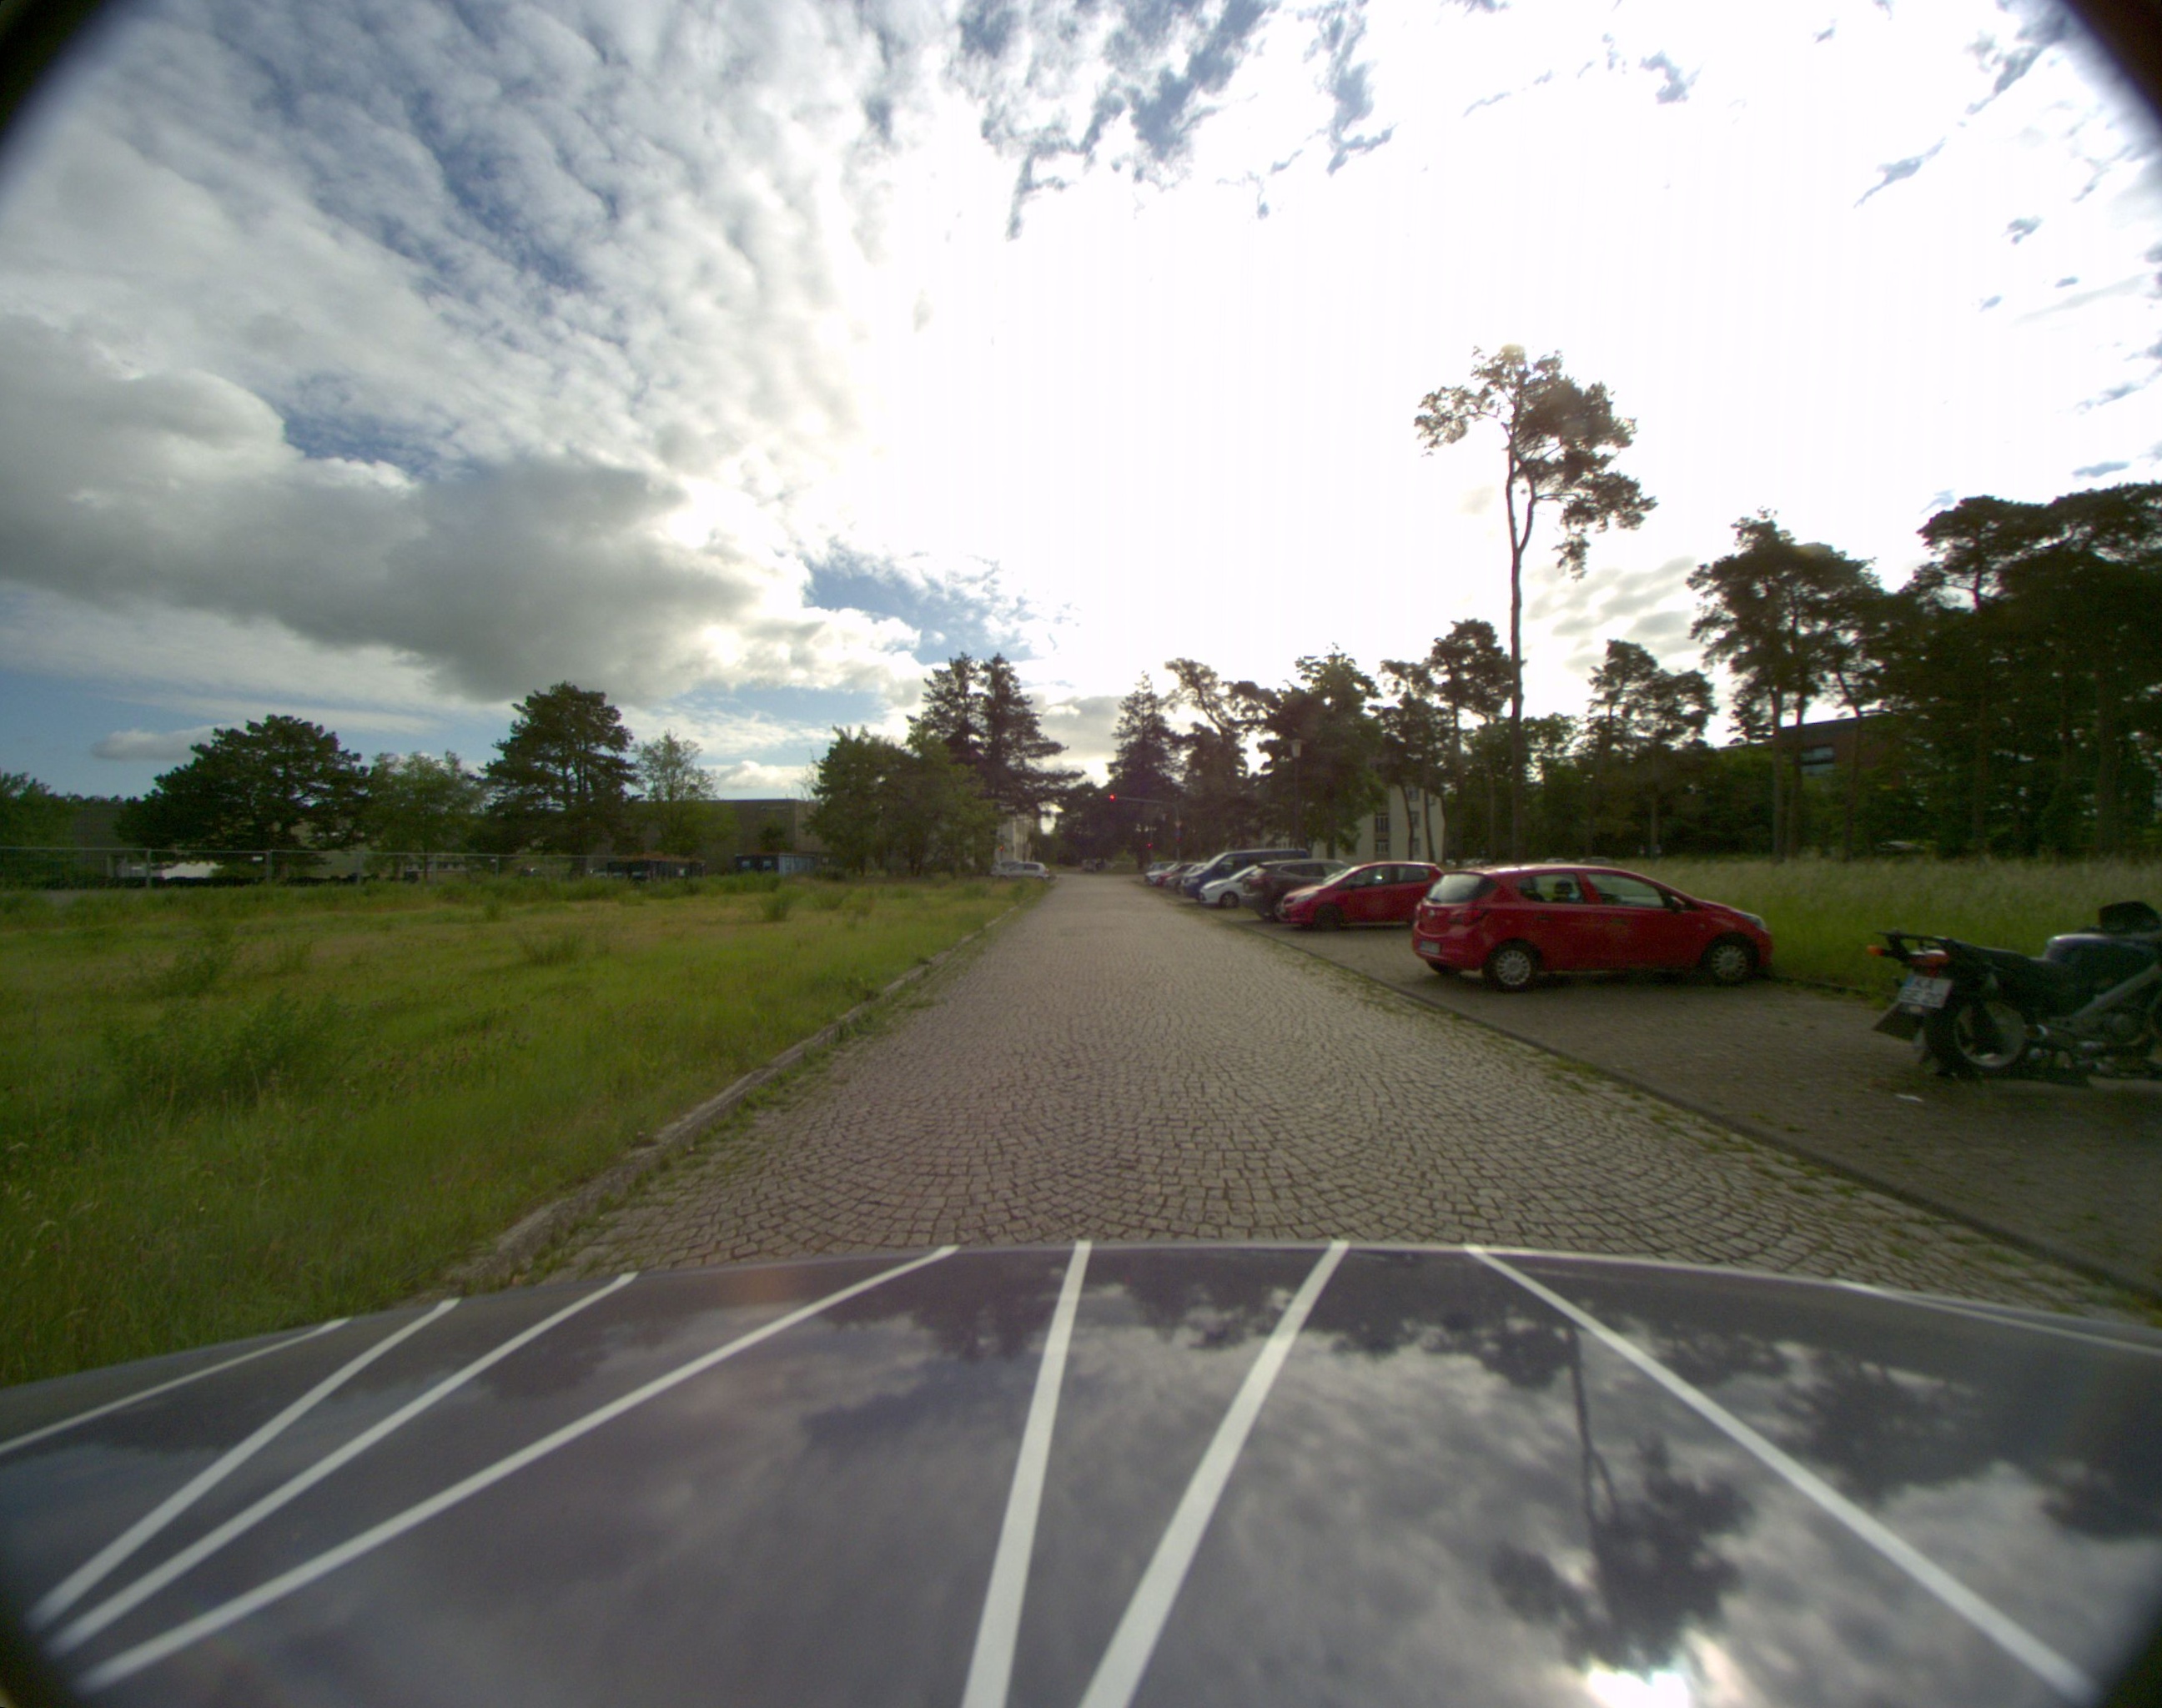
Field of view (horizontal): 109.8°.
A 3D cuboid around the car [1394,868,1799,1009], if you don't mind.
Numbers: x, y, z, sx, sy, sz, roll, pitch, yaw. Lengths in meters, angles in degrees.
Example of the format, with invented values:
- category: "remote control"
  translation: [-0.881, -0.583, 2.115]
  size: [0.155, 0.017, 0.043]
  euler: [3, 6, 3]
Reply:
- category: "car"
  translation: [6.212, 0.977, 9.474]
  size: [3.894, 1.470, 1.672]
  euler: [-2, 0, 0]

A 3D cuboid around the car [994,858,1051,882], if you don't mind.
- category: "car"
  translation: [-3.971, 1.064, 51.516]
  size: [3.730, 1.429, 1.626]
  euler: [-3, 1, -4]

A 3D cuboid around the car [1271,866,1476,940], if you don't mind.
- category: "car"
  translation: [6.465, 1.058, 17.104]
  size: [3.951, 1.511, 1.707]
  euler: [-1, -1, 0]

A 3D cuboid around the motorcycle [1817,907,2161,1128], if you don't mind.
- category: "motorcycle"
  translation: [6.453, 1.035, 5.054]
  size: [2.361, 1.280, 0.744]
  euler: [-1, 0, 1]

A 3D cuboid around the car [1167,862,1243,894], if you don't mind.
- category: "car"
  translation: [6.500, 1.237, 39.944]
  size: [3.572, 1.426, 1.605]
  euler: [-3, 1, -7]

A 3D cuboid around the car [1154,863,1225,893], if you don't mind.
- category: "car"
  translation: [6.072, 1.328, 42.587]
  size: [3.572, 1.408, 1.637]
  euler: [-3, 1, -7]

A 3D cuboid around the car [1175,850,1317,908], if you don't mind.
- category: "car"
  translation: [6.156, 0.902, 28.785]
  size: [4.833, 1.855, 2.161]
  euler: [-3, 1, -1]

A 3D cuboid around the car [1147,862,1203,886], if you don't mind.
- category: "car"
  translation: [6.487, 1.351, 52.582]
  size: [3.455, 1.424, 1.627]
  euler: [-3, 1, -9]

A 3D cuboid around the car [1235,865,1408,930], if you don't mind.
- category: "car"
  translation: [6.156, 1.087, 19.765]
  size: [3.916, 1.594, 1.821]
  euler: [0, 0, -2]

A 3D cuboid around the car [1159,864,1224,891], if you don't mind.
- category: "car"
  translation: [6.512, 1.360, 45.127]
  size: [3.650, 1.340, 1.621]
  euler: [-3, 1, 4]

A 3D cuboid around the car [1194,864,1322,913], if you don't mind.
- category: "car"
  translation: [6.033, 1.165, 26.191]
  size: [3.930, 1.385, 1.742]
  euler: [-3, 1, -1]

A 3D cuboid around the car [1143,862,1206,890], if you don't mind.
- category: "car"
  translation: [5.782, 1.357, 47.144]
  size: [3.573, 1.479, 1.601]
  euler: [-3, 1, -8]

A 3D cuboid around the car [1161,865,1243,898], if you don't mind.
- category: "car"
  translation: [5.845, 1.322, 37.035]
  size: [3.600, 1.412, 1.617]
  euler: [-2, 1, -7]

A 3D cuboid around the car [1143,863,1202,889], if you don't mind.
- category: "car"
  translation: [5.960, 1.433, 49.920]
  size: [3.571, 1.450, 1.626]
  euler: [-3, 1, -2]

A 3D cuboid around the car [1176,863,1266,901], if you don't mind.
- category: "car"
  translation: [6.278, 1.241, 34.357]
  size: [3.600, 1.446, 1.686]
  euler: [-3, 1, -7]

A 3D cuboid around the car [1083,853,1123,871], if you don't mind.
- category: "car"
  translation: [3.446, 1.215, 119.555]
  size: [5.797, 2.548, 2.768]
  euler: [-3, 1, -5]

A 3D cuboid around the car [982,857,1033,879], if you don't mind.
- category: "car"
  translation: [-5.538, 1.060, 56.949]
  size: [3.731, 1.429, 1.625]
  euler: [-3, 1, -7]
